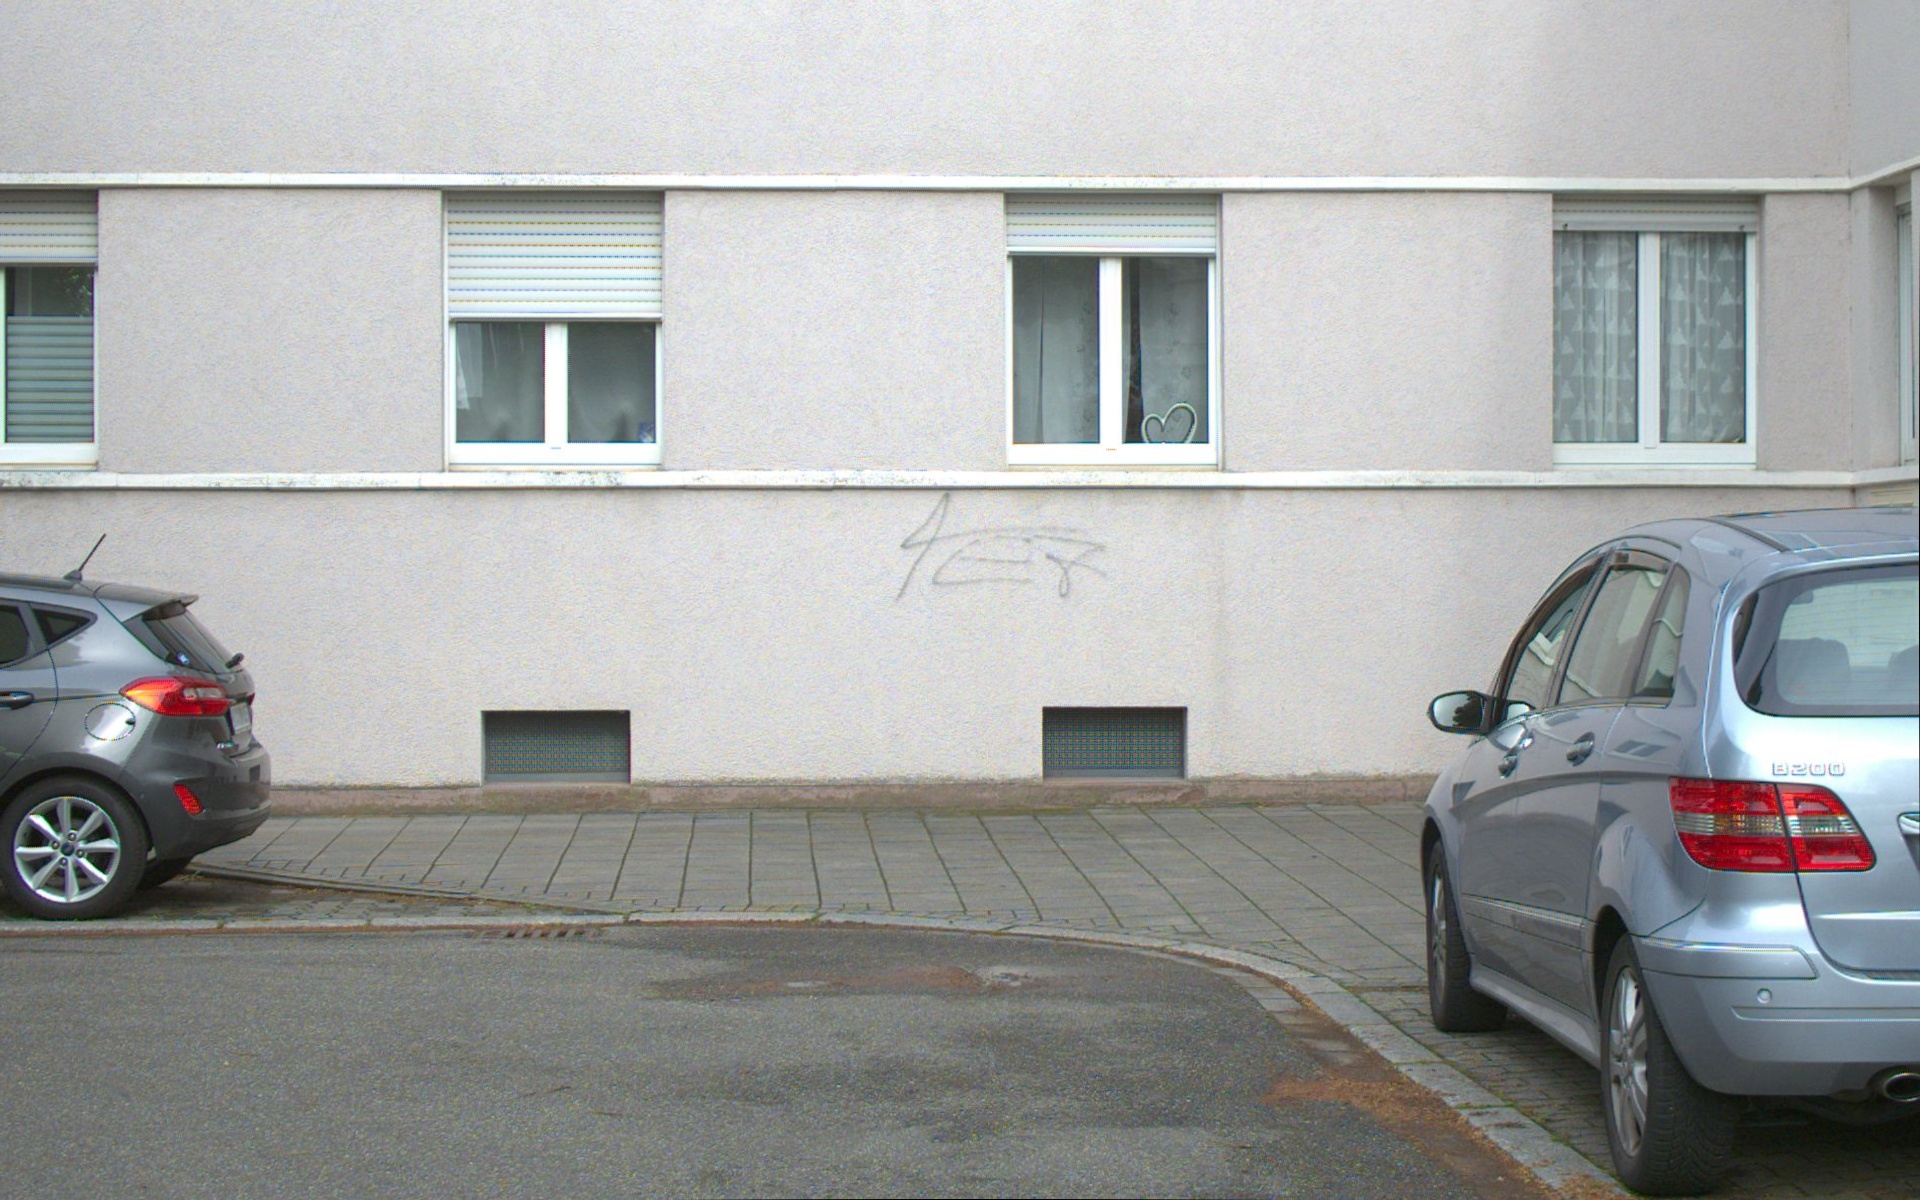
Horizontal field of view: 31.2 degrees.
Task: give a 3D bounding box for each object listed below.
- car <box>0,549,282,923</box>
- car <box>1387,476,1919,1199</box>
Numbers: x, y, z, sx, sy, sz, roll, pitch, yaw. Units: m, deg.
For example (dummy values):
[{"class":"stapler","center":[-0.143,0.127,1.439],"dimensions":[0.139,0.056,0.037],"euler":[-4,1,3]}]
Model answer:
[{"class":"car","center":[-5.117,0.540,14.960],"dimensions":[4.065,1.520,1.763],"euler":[0,1,-5]},{"class":"car","center":[2.350,0.538,9.576],"dimensions":[1.757,1.622,4.200],"euler":[0,0,-1]}]
